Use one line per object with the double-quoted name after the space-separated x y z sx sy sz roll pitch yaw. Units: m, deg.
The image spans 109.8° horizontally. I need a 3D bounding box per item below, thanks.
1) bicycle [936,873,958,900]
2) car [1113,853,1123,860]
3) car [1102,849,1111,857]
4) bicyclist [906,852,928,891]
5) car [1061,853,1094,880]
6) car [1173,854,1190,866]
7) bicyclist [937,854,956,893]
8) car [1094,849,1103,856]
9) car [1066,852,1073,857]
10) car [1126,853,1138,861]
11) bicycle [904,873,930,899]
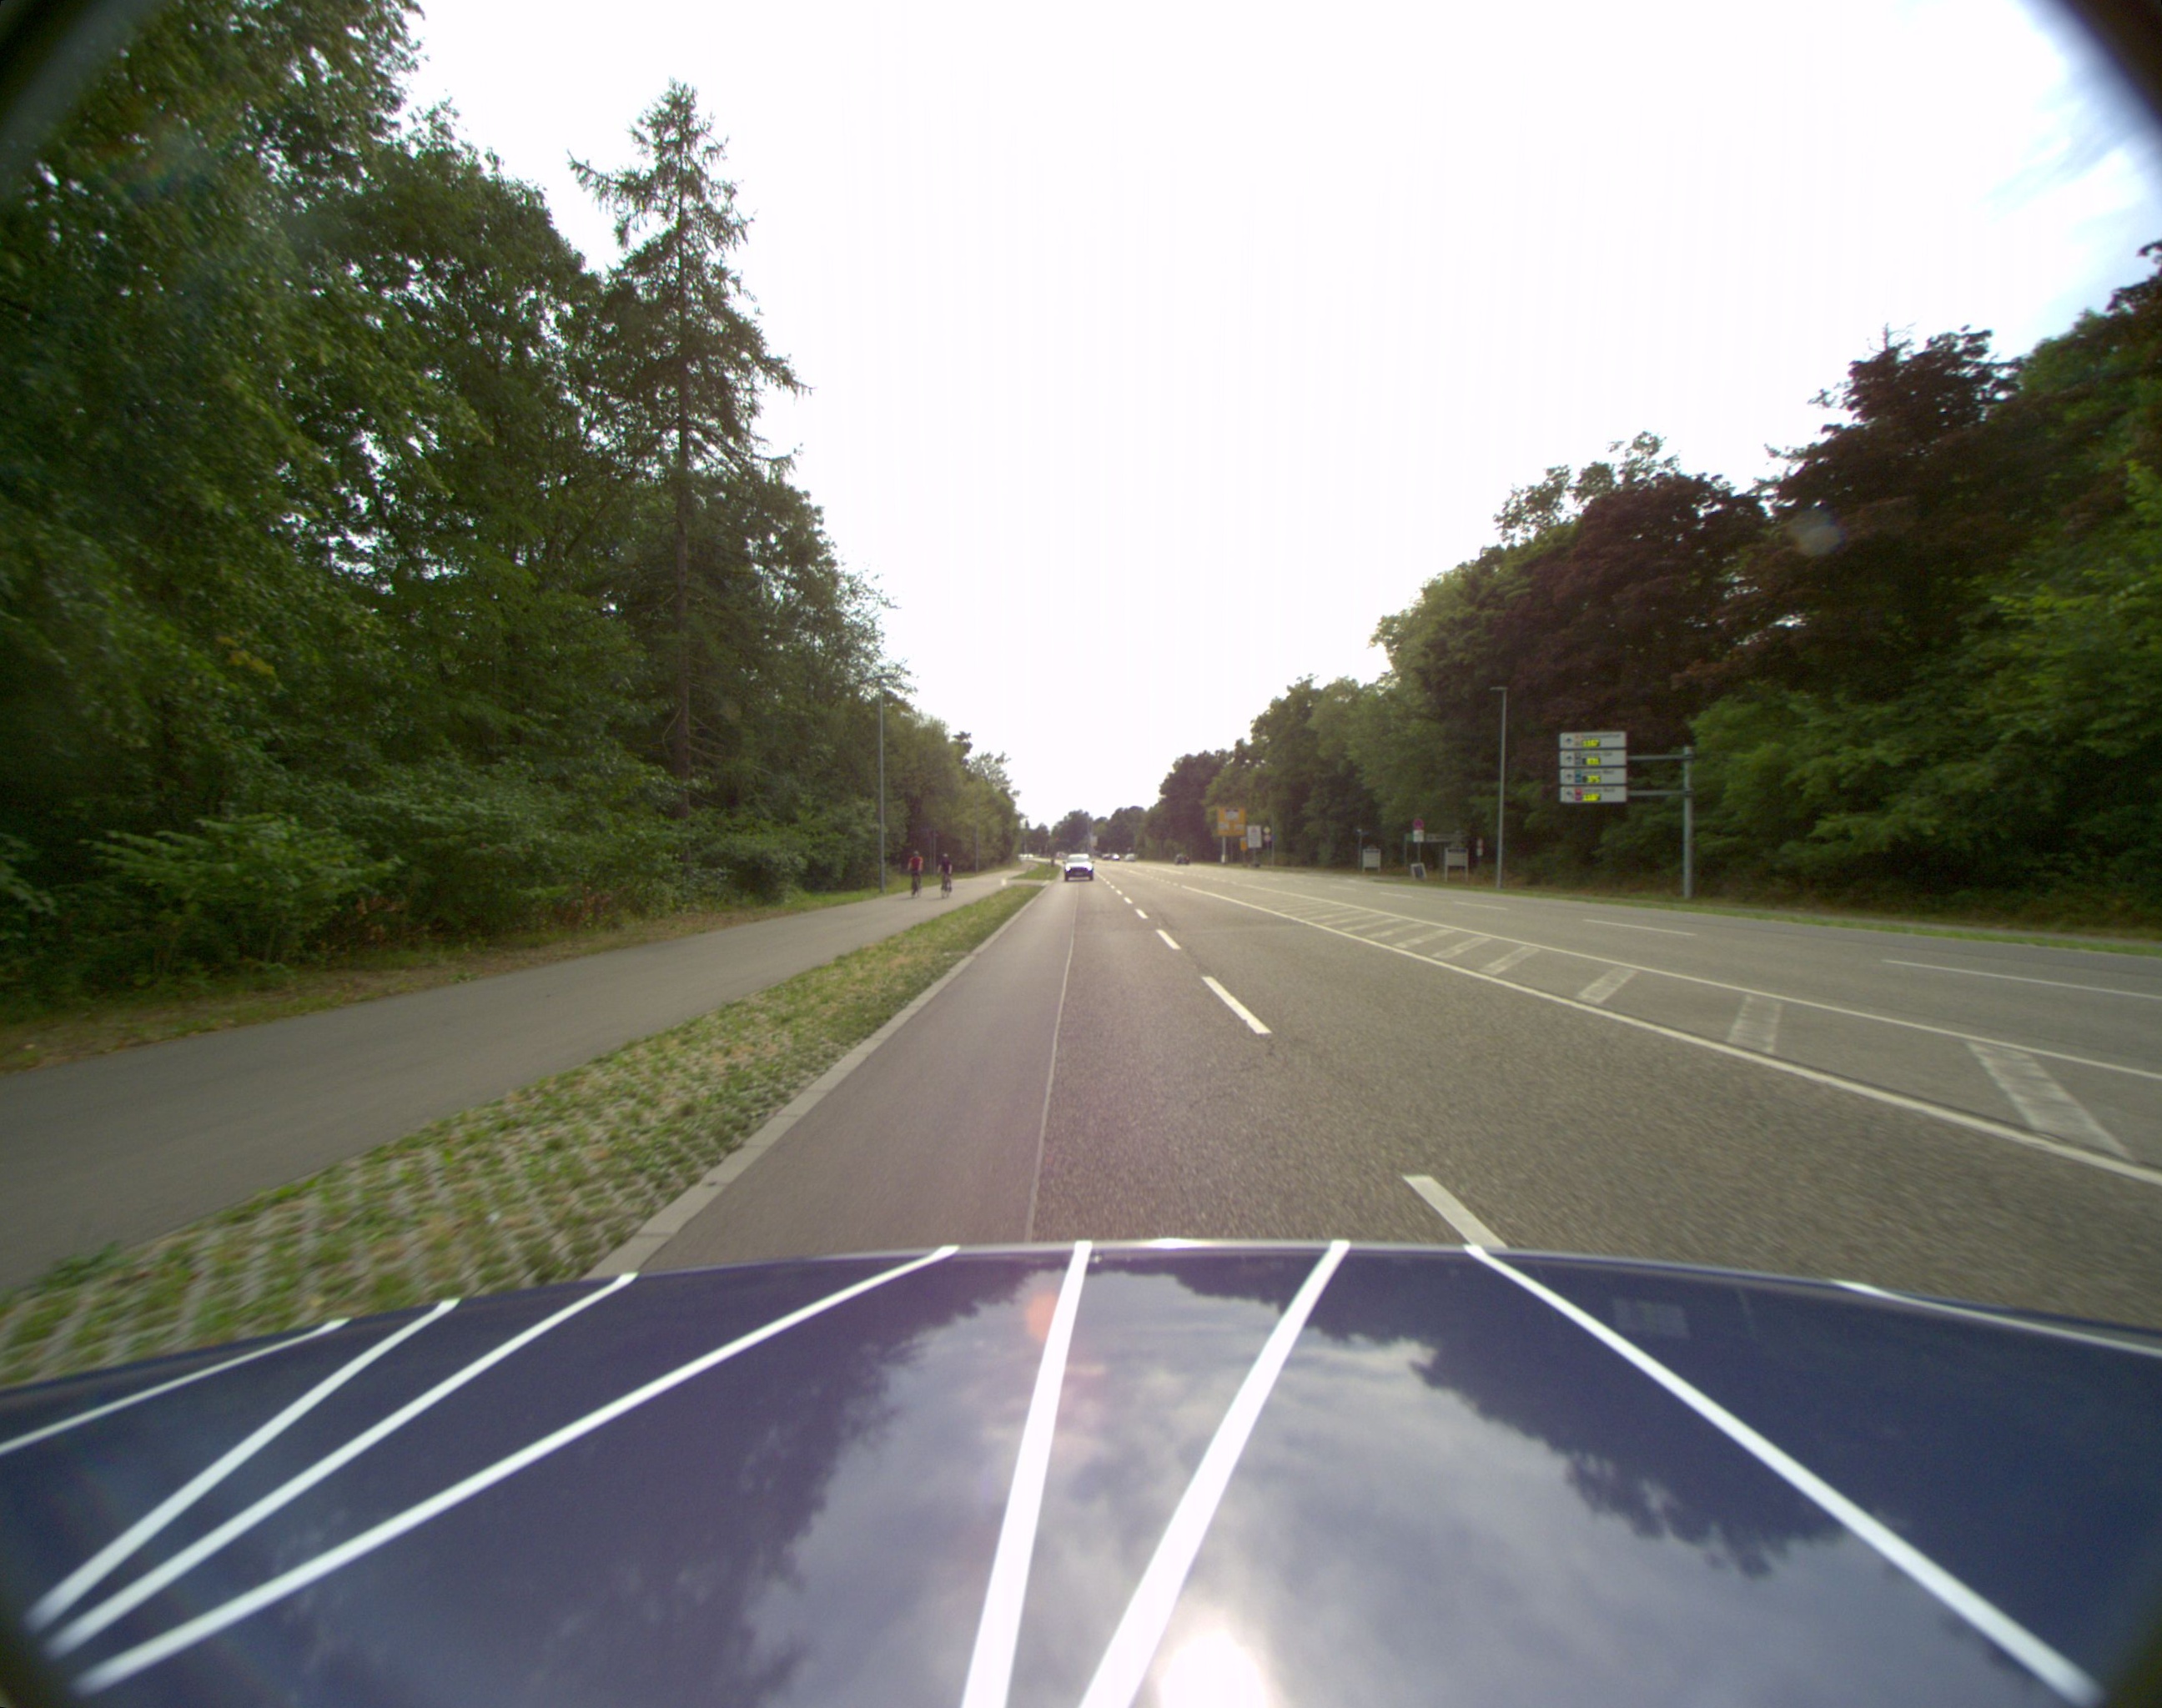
-5.062 1.208 28.742 0.567 0.906 1.754 1 1 -1 "bicycle"
9.404 0.640 193.843 1.999 1.585 3.998 -3 1 -4 "car"
6.954 -0.243 206.537 1.999 1.871 3.998 -3 1 -4 "car"
-6.189 0.651 28.681 0.521 1.407 1.186 -2 1 -1 "bicyclist"
-0.194 0.768 49.174 1.998 1.565 3.999 -3 1 1 "car"
13.278 0.797 100.198 1.745 1.467 4.000 -3 1 2 "car"
-5.068 0.719 28.761 0.521 1.407 1.186 -1 1 -1 "bicyclist"
5.174 -0.453 220.934 1.999 2.002 3.997 -3 1 -5 "car"
-3.870 0.186 254.479 2.000 1.641 3.997 -1 0 -8 "car"
10.195 0.597 152.556 1.940 1.492 4.589 -3 1 -3 "car"
-6.190 1.186 28.737 0.567 0.906 1.887 -1 0 -1 "bicycle"
